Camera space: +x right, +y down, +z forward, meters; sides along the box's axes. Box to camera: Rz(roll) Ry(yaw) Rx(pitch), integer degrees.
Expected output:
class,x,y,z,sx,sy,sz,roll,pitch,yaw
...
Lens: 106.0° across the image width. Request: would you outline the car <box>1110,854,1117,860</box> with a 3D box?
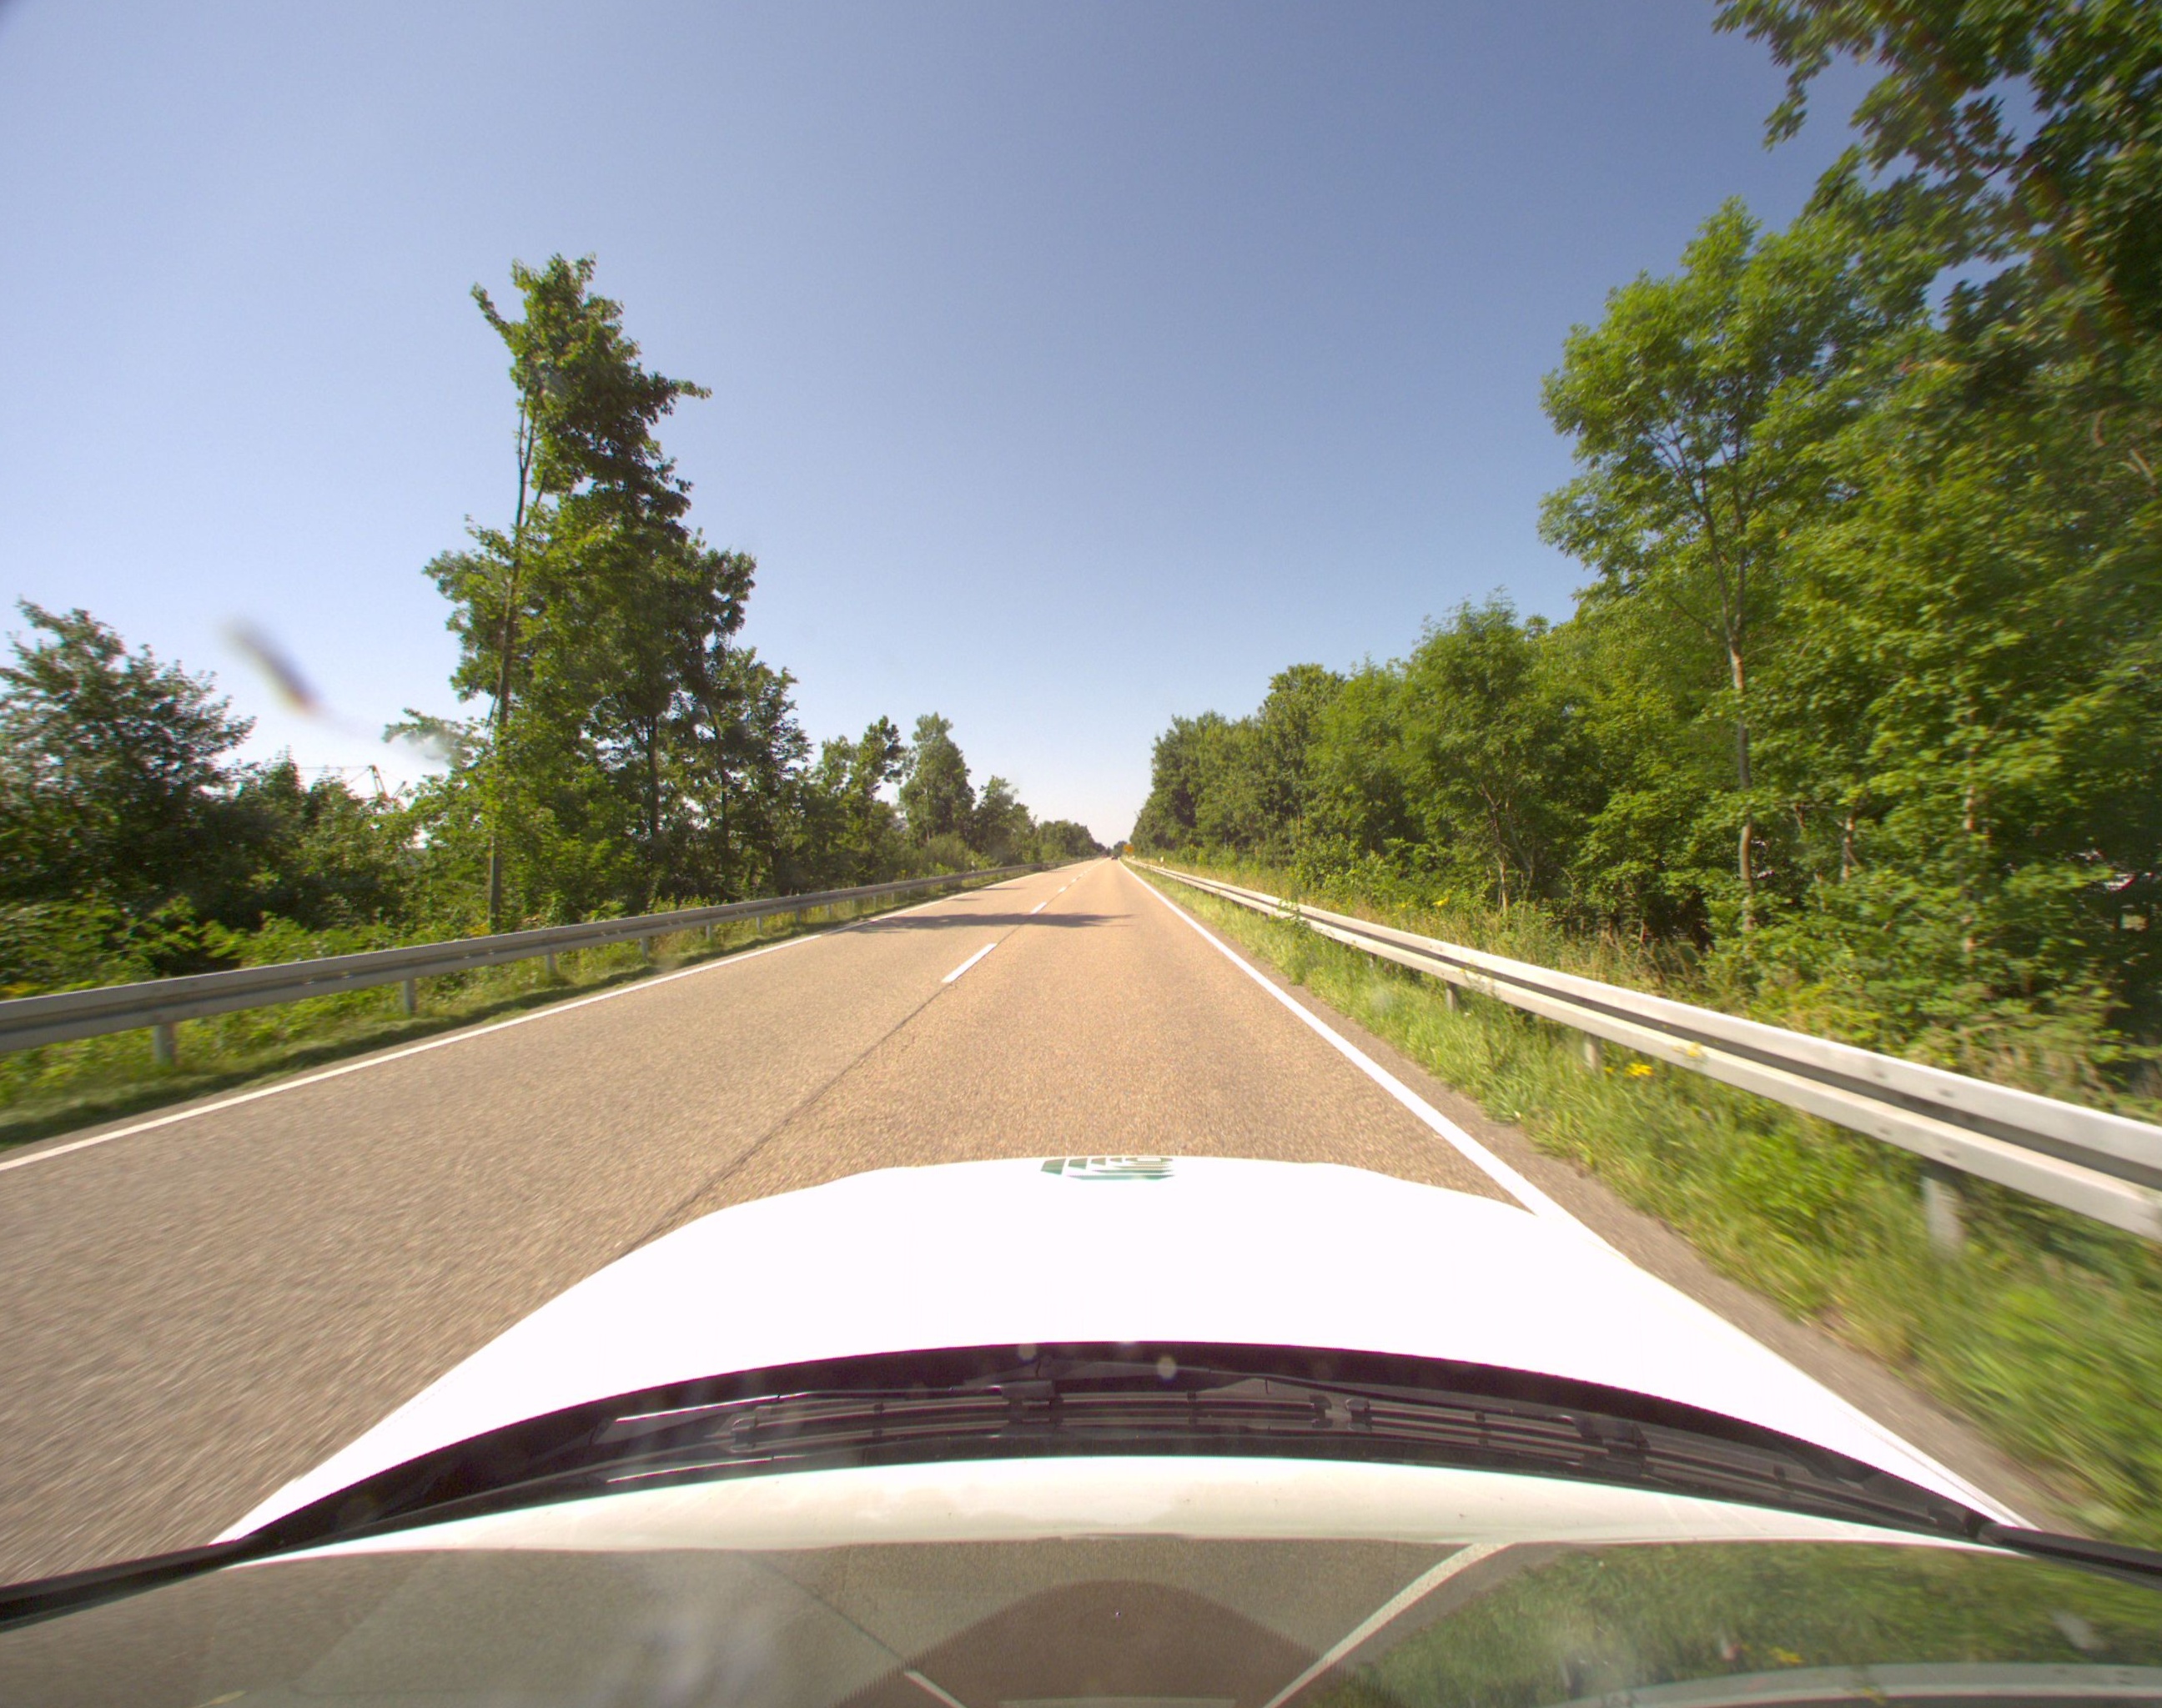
class,x,y,z,sx,sy,sz,roll,pitch,yaw
car,9.016,0.879,226.689,1.734,1.470,3.696,-1,0,3
